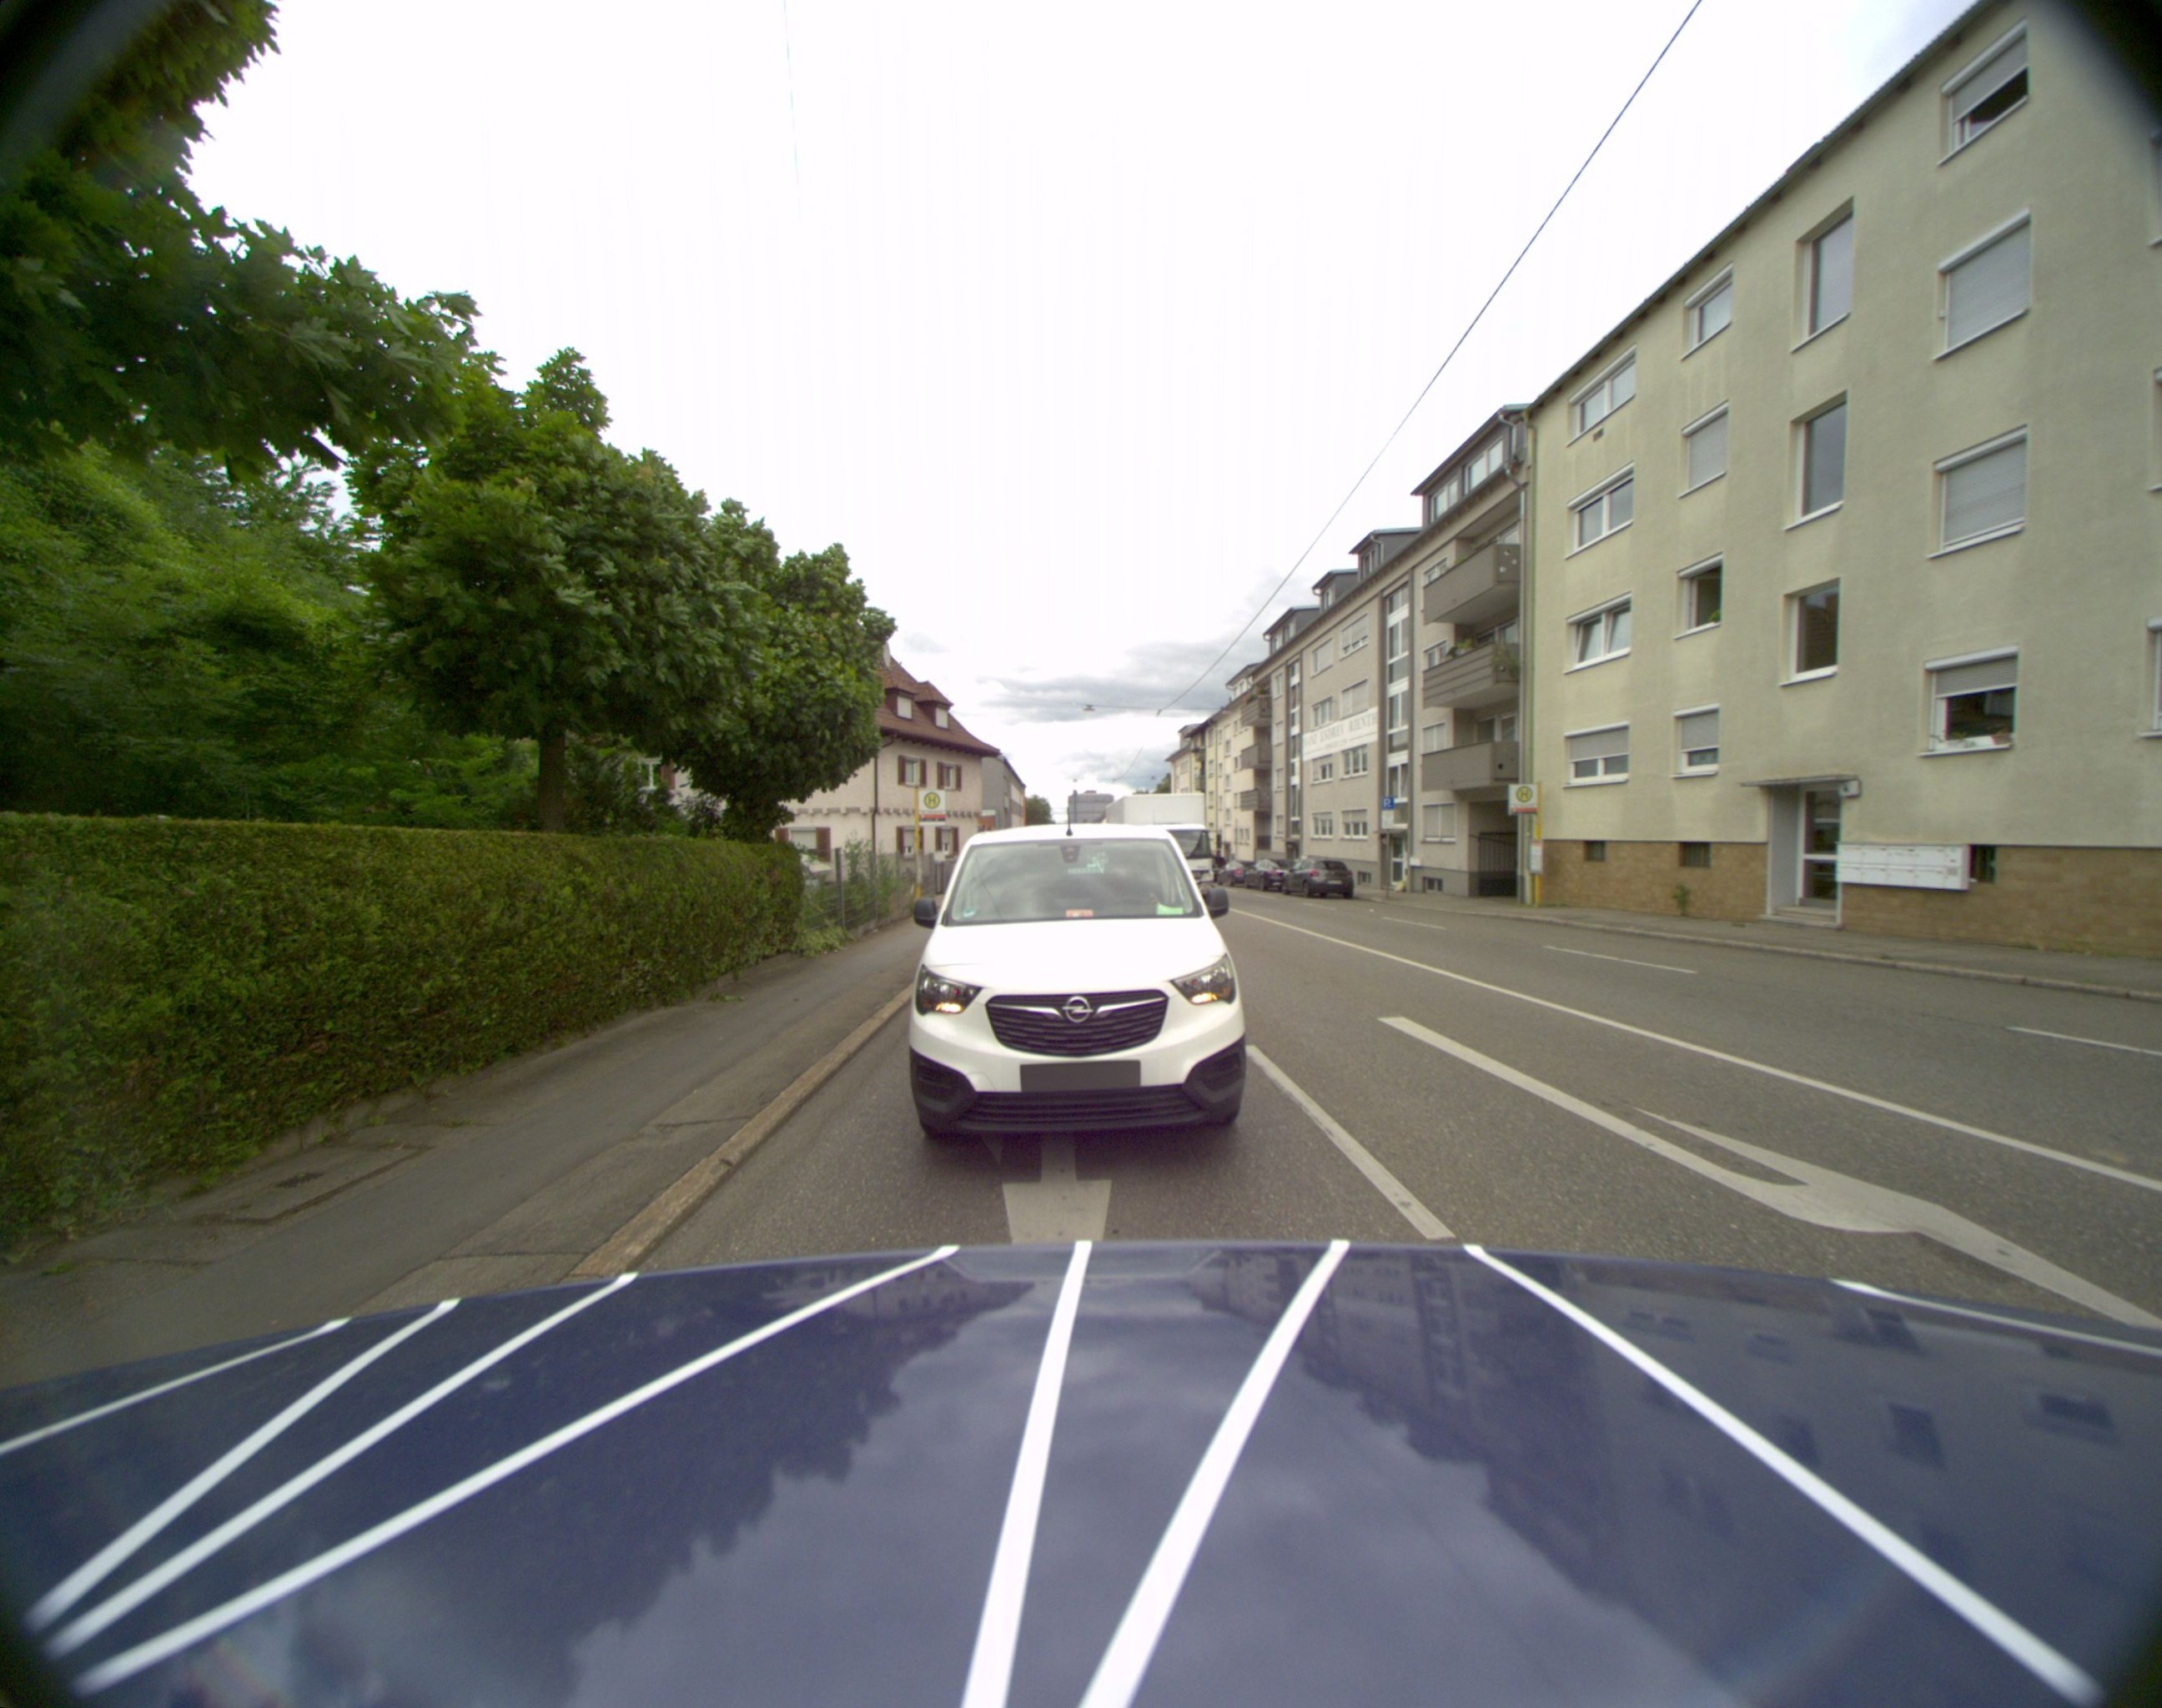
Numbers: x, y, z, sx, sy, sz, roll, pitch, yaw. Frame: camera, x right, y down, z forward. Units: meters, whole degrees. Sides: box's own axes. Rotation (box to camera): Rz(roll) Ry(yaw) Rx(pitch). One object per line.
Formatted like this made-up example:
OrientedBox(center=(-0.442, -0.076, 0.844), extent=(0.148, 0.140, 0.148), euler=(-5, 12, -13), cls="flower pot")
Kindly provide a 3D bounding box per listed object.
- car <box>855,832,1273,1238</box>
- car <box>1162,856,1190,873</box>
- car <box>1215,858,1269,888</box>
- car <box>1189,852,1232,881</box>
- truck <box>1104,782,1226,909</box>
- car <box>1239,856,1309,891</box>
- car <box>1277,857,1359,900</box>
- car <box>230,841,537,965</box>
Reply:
OrientedBox(center=(-0.131, 0.794, 5.413), extent=(1.803, 1.736, 3.999), euler=(-3, 1, -2), cls="car")
OrientedBox(center=(8.194, 0.873, 65.986), extent=(1.875, 1.372, 4.307), euler=(2, 0, 0), cls="car")
OrientedBox(center=(8.387, 0.954, 39.889), extent=(1.773, 1.397, 4.306), euler=(1, 0, -2), cls="car")
OrientedBox(center=(8.329, 0.774, 49.091), extent=(1.875, 1.743, 4.306), euler=(1, 0, -2), cls="car")
OrientedBox(center=(2.529, -0.222, 25.749), extent=(2.776, 3.554, 8.062), euler=(-2, 0, -3), cls="truck")
OrientedBox(center=(8.592, 0.835, 34.258), extent=(1.773, 1.397, 4.717), euler=(1, 0, -2), cls="car")
OrientedBox(center=(8.894, 0.863, 28.791), extent=(1.773, 1.428, 3.800), euler=(1, 0, -2), cls="car")
OrientedBox(center=(-13.035, 0.779, 14.402), extent=(1.994, 2.002, 4.008), euler=(-1, 0, 40), cls="car")
